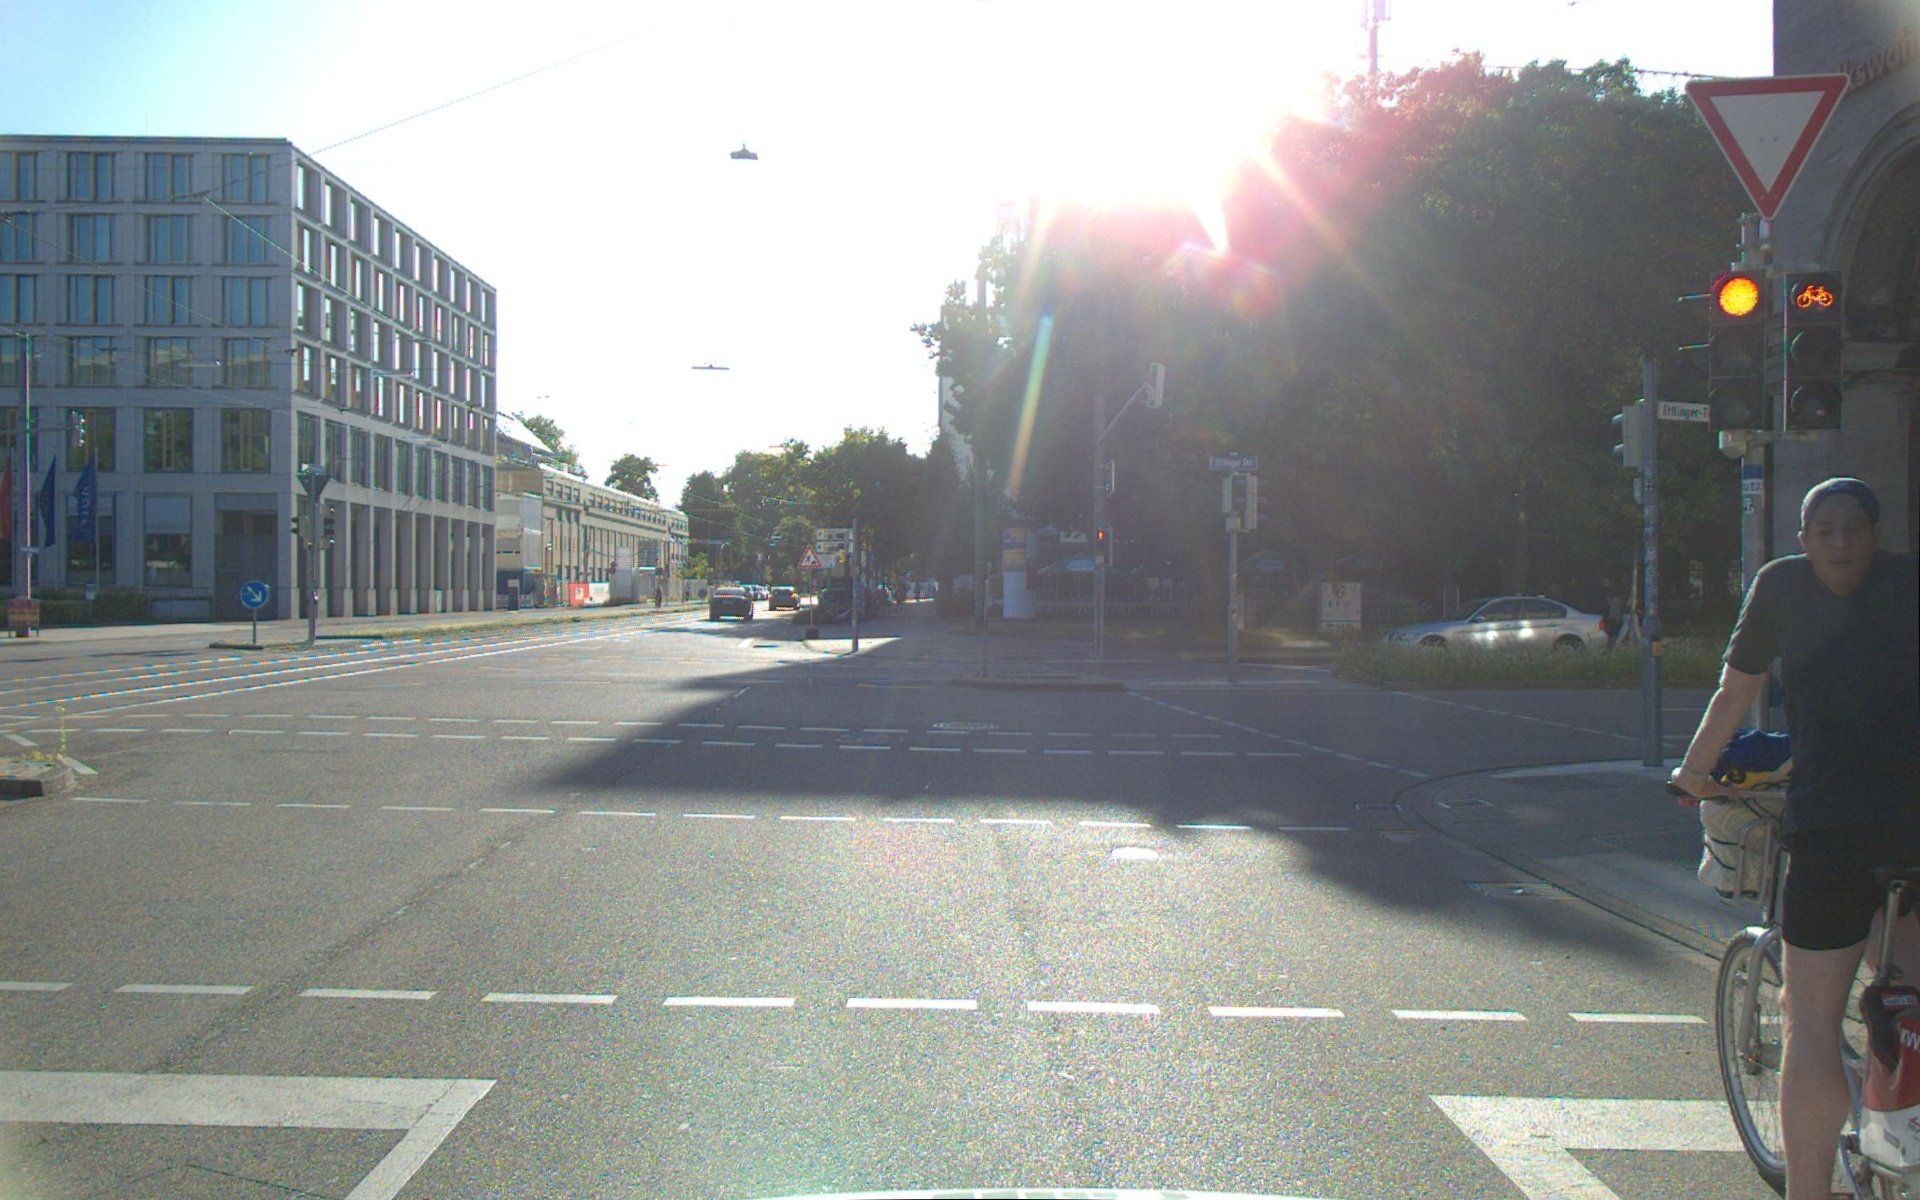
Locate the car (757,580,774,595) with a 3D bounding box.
[{"bbox_3d":[-22.841,-1.447,194.367,1.659,1.748,4.244,1,0,-4],"label":"car"}]

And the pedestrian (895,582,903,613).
[{"bbox_3d":[-3.609,-0.160,97.572,0.454,1.845,0.502,0,0,-5],"label":"pedestrian"}]

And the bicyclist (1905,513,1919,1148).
[{"bbox_3d":[2.892,0.628,4.238,0.546,1.721,0.640,1,0,-2],"label":"bicyclist"}]

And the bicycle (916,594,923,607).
[{"bbox_3d":[-3.437,0.034,139.378,0.563,1.096,1.830,0,0,-1],"label":"bicycle"}]

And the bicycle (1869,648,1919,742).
[{"bbox_3d":[10.688,0.991,17.555,1.821,0.951,0.559,0,0,-6],"label":"bicycle"}]

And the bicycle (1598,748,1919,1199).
[{"bbox_3d":[2.080,0.982,3.897,0.505,1.096,1.728,1,0,1],"label":"bicycle"}]

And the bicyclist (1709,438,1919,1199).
[{"bbox_3d":[2.098,0.579,3.739,0.547,1.830,0.550,1,0,1],"label":"bicyclist"}]

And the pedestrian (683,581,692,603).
[{"bbox_3d":[-25.347,-0.764,153.741,0.660,2.049,0.751,1,-1,-3],"label":"pedestrian"}]

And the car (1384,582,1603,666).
[{"bbox_3d":[10.776,0.475,33.570,3.912,1.639,1.650,0,0,-1],"label":"car"}]

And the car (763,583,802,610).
[{"bbox_3d":[-11.530,-0.242,107.688,1.853,1.592,4.808,3,1,0],"label":"car"}]

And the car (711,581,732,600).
[{"bbox_3d":[-22.479,-0.907,156.117,1.659,1.748,4.244,1,0,-4],"label":"car"}]

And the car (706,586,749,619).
[{"bbox_3d":[-10.658,0.112,76.047,1.627,1.481,4.428,1,0,-4],"label":"car"}]

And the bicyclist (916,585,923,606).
[{"bbox_3d":[-3.435,-0.391,139.388,0.558,1.721,0.699,0,0,-1],"label":"bicyclist"}]

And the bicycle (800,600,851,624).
[{"bbox_3d":[-5.486,0.503,67.390,1.976,0.907,0.650,-2,-1,27],"label":"bicycle"}]

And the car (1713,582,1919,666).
[{"bbox_3d":[17.539,0.462,33.559,3.770,1.639,1.650,0,0,-1],"label":"car"}]

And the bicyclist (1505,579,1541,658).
[{"bbox_3d":[12.343,0.406,36.264,0.630,1.712,0.507,0,0,5],"label":"bicyclist"}]

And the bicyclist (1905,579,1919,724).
[{"bbox_3d":[10.598,0.549,17.579,0.748,1.550,0.606,0,0,-5],"label":"bicyclist"}]

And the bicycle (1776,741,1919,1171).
[{"bbox_3d":[2.867,1.001,4.345,0.523,1.096,1.750,1,0,-2],"label":"bicycle"}]

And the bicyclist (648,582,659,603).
[{"bbox_3d":[-20.181,-0.505,108.875,0.584,1.401,0.637,1,-1,-2],"label":"bicyclist"}]
